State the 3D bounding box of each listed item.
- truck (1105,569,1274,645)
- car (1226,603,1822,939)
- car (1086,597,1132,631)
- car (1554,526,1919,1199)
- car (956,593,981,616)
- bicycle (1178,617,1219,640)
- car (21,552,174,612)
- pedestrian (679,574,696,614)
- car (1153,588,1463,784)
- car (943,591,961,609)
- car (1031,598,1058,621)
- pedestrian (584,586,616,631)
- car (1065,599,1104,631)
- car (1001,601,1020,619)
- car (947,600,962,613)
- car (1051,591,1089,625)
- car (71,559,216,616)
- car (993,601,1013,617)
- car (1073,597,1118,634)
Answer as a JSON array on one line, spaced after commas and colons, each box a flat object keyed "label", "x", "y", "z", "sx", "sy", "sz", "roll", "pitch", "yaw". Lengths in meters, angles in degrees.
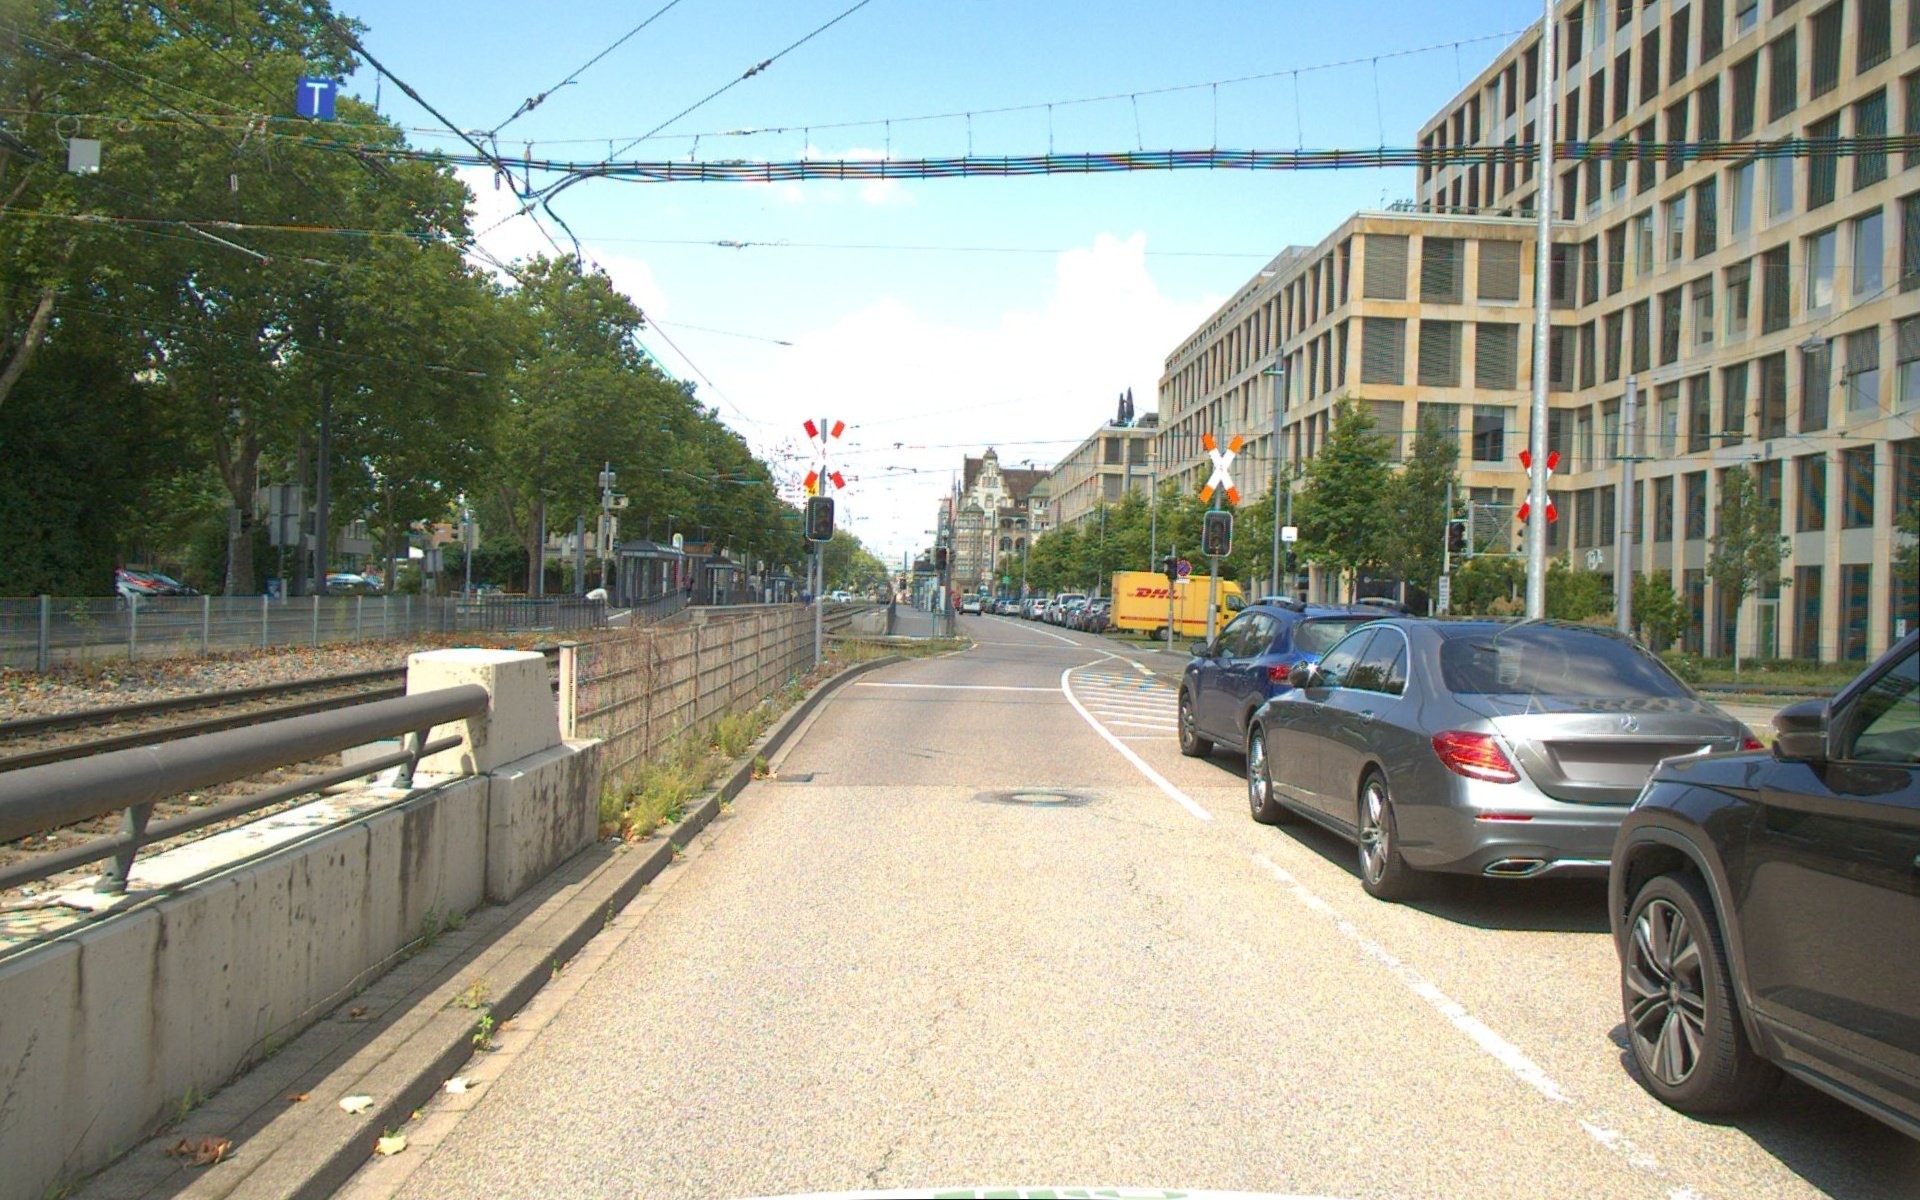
[{"label": "truck", "x": 9.716, "y": 0.316, "z": 70.358, "sx": 6.672, "sy": 2.917, "sz": 2.452, "roll": 2, "pitch": -1, "yaw": -4}, {"label": "car", "x": 2.993, "y": 0.792, "z": 10.075, "sx": 1.780, "sy": 1.479, "sz": 4.988, "roll": 1, "pitch": 0, "yaw": -2}, {"label": "car", "x": 7.149, "y": 0.676, "z": 79.621, "sx": 1.657, "sy": 1.531, "sz": 4.066, "roll": 2, "pitch": 0, "yaw": -2}, {"label": "car", "x": 3.092, "y": 0.691, "z": 3.597, "sx": 1.780, "sy": 1.691, "sz": 4.669, "roll": 1, "pitch": 0, "yaw": -2}, {"label": "car", "x": 0.719, "y": 0.379, "z": 141.517, "sx": 1.831, "sy": 1.777, "sz": 3.998, "roll": 3, "pitch": 0, "yaw": -2}, {"label": "bicycle", "x": 11.167, "y": 1.333, "z": 77.449, "sx": 1.805, "sy": 0.973, "sz": 0.519, "roll": 3, "pitch": -1, "yaw": -3}, {"label": "car", "x": -27.705, "y": -0.582, "z": 53.242, "sx": 3.909, "sy": 1.780, "sz": 1.802, "roll": 2, "pitch": 0, "yaw": -5}, {"label": "pedestrian", "x": -13.089, "y": -0.279, "z": 79.463, "sx": 0.692, "sy": 1.877, "sz": 0.864, "roll": 1, "pitch": -1, "yaw": -3}, {"label": "car", "x": 3.077, "y": 0.698, "z": 15.585, "sx": 1.744, "sy": 1.567, "sz": 4.417, "roll": 1, "pitch": 0, "yaw": -4}, {"label": "car", "x": -0.952, "y": 0.039, "z": 190.480, "sx": 1.953, "sy": 2.049, "sz": 3.999, "roll": 0, "pitch": 0, "yaw": -2}, {"label": "car", "x": 6.246, "y": 0.708, "z": 122.577, "sx": 1.651, "sy": 1.634, "sz": 4.150, "roll": 1, "pitch": 0, "yaw": -2}, {"label": "pedestrian", "x": -11.170, "y": 0.271, "z": 51.347, "sx": 0.845, "sy": 1.367, "sz": 0.922, "roll": 1, "pitch": -1, "yaw": -5}, {"label": "car", "x": 6.768, "y": 0.781, "z": 90.102, "sx": 1.686, "sy": 1.648, "sz": 3.858, "roll": 2, "pitch": 0, "yaw": -2}, {"label": "car", "x": 4.733, "y": 0.922, "z": 155.183, "sx": 1.559, "sy": 1.485, "sz": 3.612, "roll": 4, "pitch": 0, "yaw": -1}, {"label": "car", "x": -0.657, "y": 0.784, "z": 190.414, "sx": 1.414, "sy": 1.496, "sz": 4.089, "roll": 0, "pitch": 0, "yaw": -4}, {"label": "car", "x": 6.701, "y": 0.471, "z": 101.425, "sx": 1.844, "sy": 1.973, "sz": 4.841, "roll": 1, "pitch": 0, "yaw": -2}, {"label": "car", "x": -27.291, "y": -0.409, "z": 55.388, "sx": 3.909, "sy": 1.780, "sz": 1.802, "roll": 2, "pitch": 0, "yaw": -5}, {"label": "car", "x": 4.320, "y": 0.923, "z": 166.482, "sx": 1.560, "sy": 1.459, "sz": 4.104, "roll": 4, "pitch": 0, "yaw": -4}, {"label": "car", "x": 6.934, "y": 0.786, "z": 85.122, "sx": 1.733, "sy": 1.798, "sz": 4.838, "roll": 2, "pitch": 0, "yaw": -2}]
